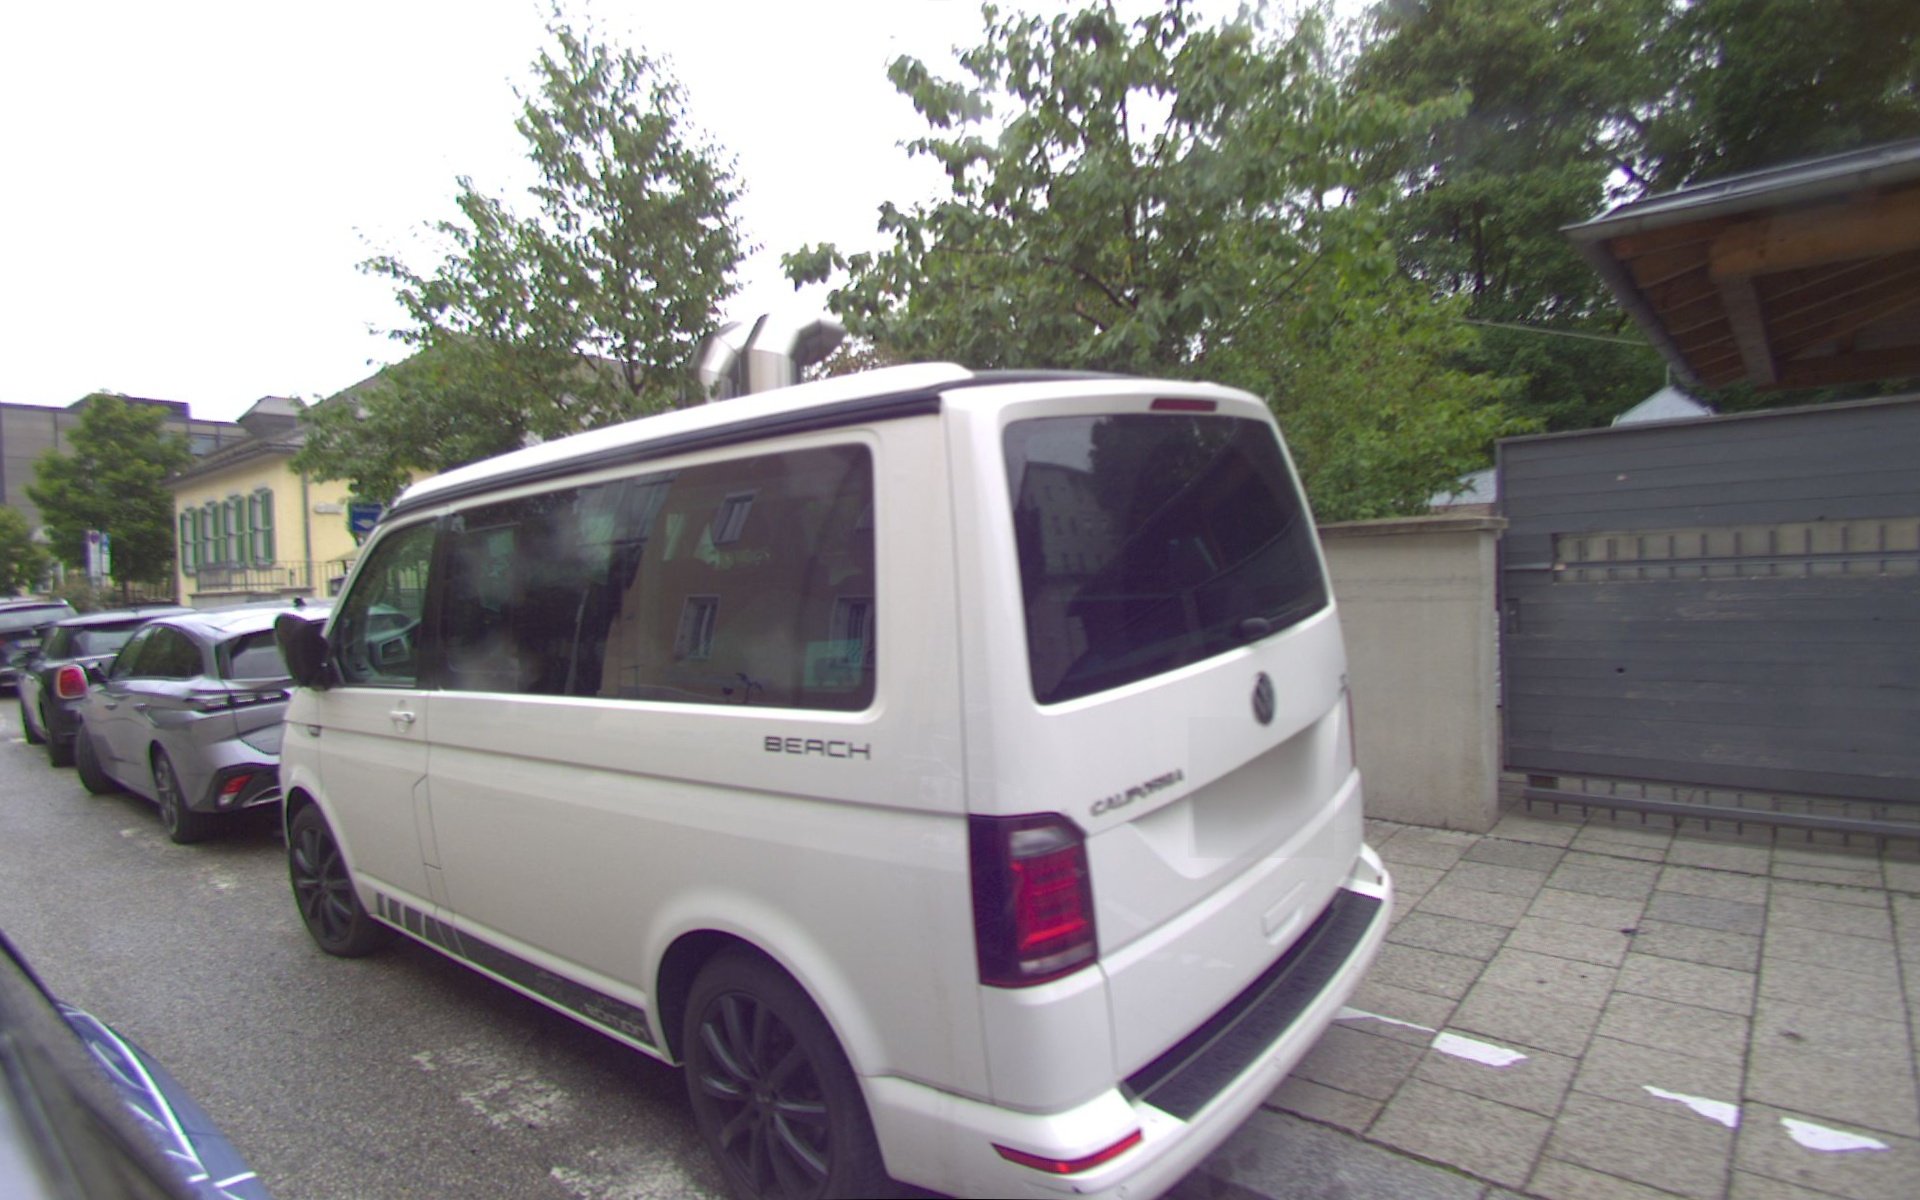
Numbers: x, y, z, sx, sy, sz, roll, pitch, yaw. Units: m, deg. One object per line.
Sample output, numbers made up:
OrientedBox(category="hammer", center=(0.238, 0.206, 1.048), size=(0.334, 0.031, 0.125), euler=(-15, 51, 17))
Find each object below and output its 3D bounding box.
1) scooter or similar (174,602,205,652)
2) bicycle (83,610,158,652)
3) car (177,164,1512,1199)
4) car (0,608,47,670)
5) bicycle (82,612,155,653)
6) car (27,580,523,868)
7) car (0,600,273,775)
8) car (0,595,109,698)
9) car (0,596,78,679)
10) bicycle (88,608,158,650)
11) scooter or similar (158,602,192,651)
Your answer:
OrientedBox(category="scooter or similar", center=(-21.334, 0.734, 28.034), size=(0.358, 1.324, 1.257), euler=(-2, 1, -24))
OrientedBox(category="bicycle", center=(-25.409, 0.928, 30.666), size=(0.352, 1.180, 1.684), euler=(-1, 1, 40))
OrientedBox(category="car", center=(-1.017, 0.386, 3.827), size=(5.147, 2.005, 1.947), euler=(-1, 3, 40))
OrientedBox(category="car", center=(-26.159, 1.054, 27.064), size=(4.651, 1.530, 1.878), euler=(-1, 3, 40))
OrientedBox(category="bicycle", center=(-25.196, 0.965, 30.336), size=(0.387, 1.145, 1.612), euler=(-1, 1, 40))
OrientedBox(category="car", center=(-5.467, 0.711, 7.803), size=(4.691, 1.555, 1.869), euler=(-1, 1, 39))
OrientedBox(category="car", center=(-9.237, 0.811, 11.220), size=(4.188, 1.556, 1.838), euler=(-1, 0, 43))
OrientedBox(category="car", center=(-17.212, 0.803, 18.614), size=(4.744, 1.619, 1.825), euler=(-1, 3, 44))
OrientedBox(category="car", center=(-22.105, 0.853, 23.513), size=(4.808, 1.704, 1.882), euler=(-1, 3, 43))
OrientedBox(category="bicycle", center=(-25.840, 0.895, 31.245), size=(1.608, 1.182, 0.467), euler=(-3, 2, -41))
OrientedBox(category="scooter or similar", center=(-22.347, 0.743, 28.824), size=(0.370, 1.353, 1.357), euler=(-2, 1, -22))
